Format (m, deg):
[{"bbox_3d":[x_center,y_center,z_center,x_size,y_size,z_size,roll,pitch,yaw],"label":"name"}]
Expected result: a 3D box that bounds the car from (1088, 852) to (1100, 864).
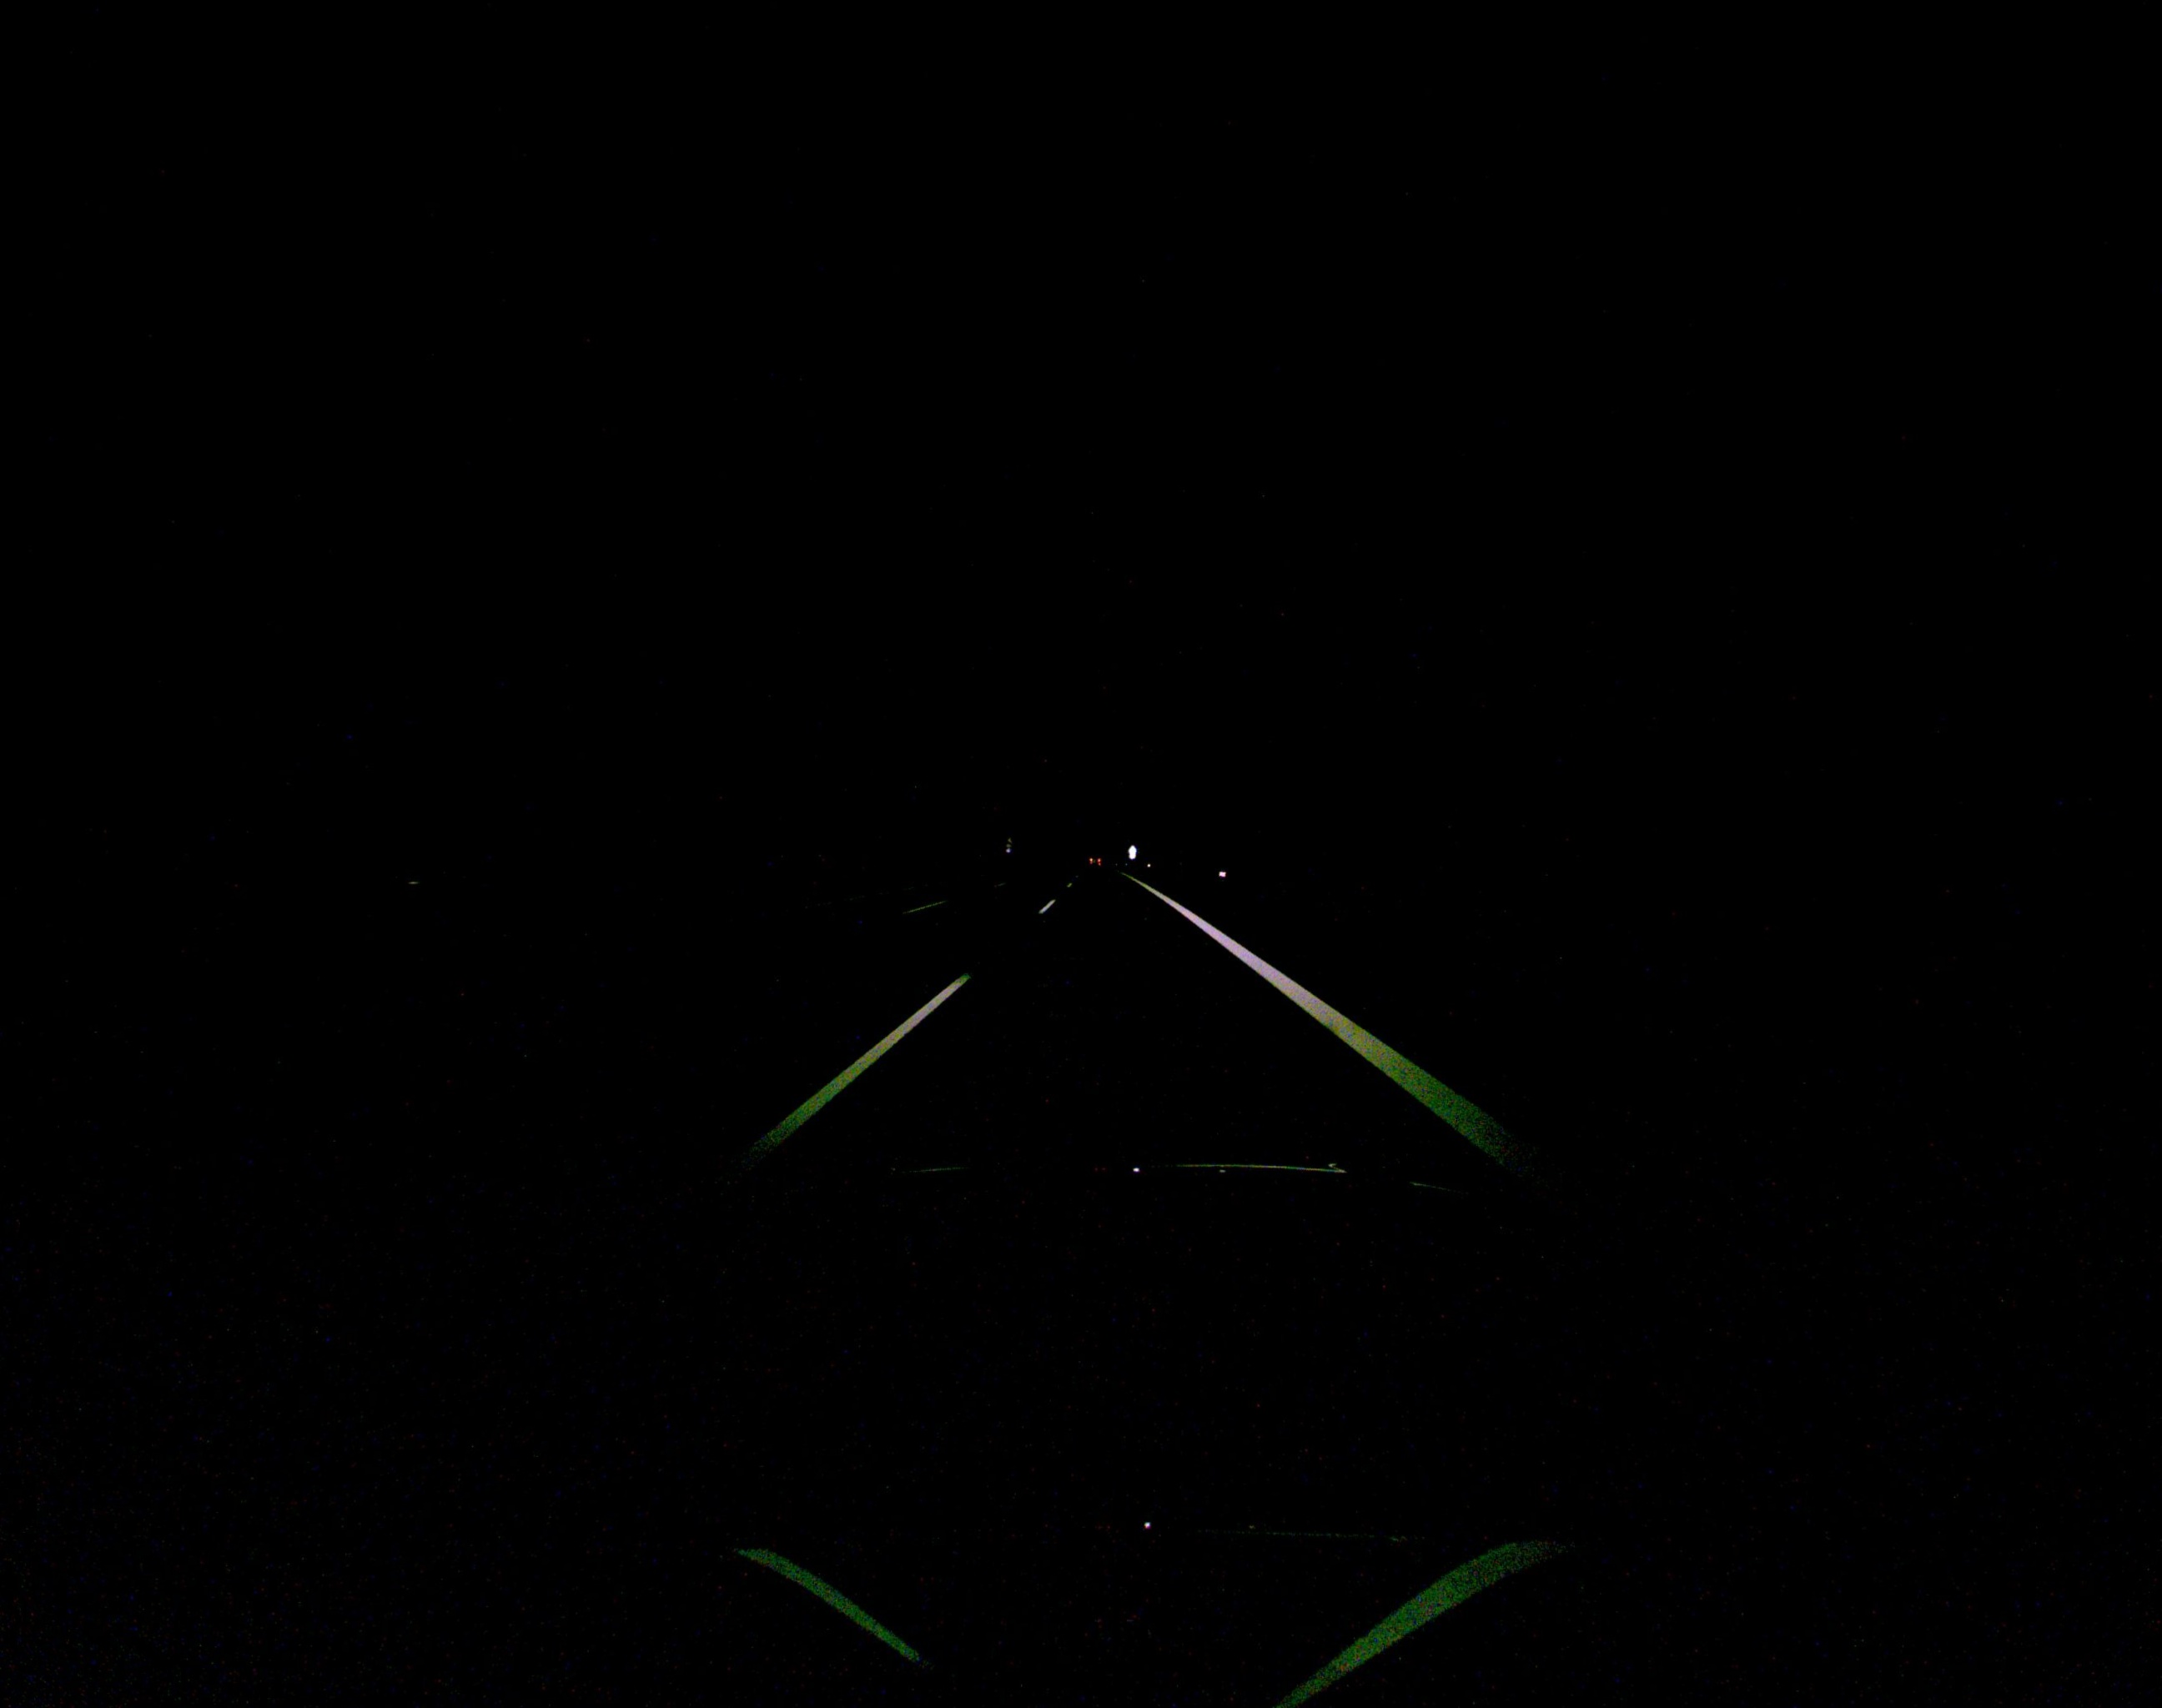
[{"bbox_3d":[2.956,0.838,182.495,2.518,2.553,6.054,1,0,2],"label":"car"}]
